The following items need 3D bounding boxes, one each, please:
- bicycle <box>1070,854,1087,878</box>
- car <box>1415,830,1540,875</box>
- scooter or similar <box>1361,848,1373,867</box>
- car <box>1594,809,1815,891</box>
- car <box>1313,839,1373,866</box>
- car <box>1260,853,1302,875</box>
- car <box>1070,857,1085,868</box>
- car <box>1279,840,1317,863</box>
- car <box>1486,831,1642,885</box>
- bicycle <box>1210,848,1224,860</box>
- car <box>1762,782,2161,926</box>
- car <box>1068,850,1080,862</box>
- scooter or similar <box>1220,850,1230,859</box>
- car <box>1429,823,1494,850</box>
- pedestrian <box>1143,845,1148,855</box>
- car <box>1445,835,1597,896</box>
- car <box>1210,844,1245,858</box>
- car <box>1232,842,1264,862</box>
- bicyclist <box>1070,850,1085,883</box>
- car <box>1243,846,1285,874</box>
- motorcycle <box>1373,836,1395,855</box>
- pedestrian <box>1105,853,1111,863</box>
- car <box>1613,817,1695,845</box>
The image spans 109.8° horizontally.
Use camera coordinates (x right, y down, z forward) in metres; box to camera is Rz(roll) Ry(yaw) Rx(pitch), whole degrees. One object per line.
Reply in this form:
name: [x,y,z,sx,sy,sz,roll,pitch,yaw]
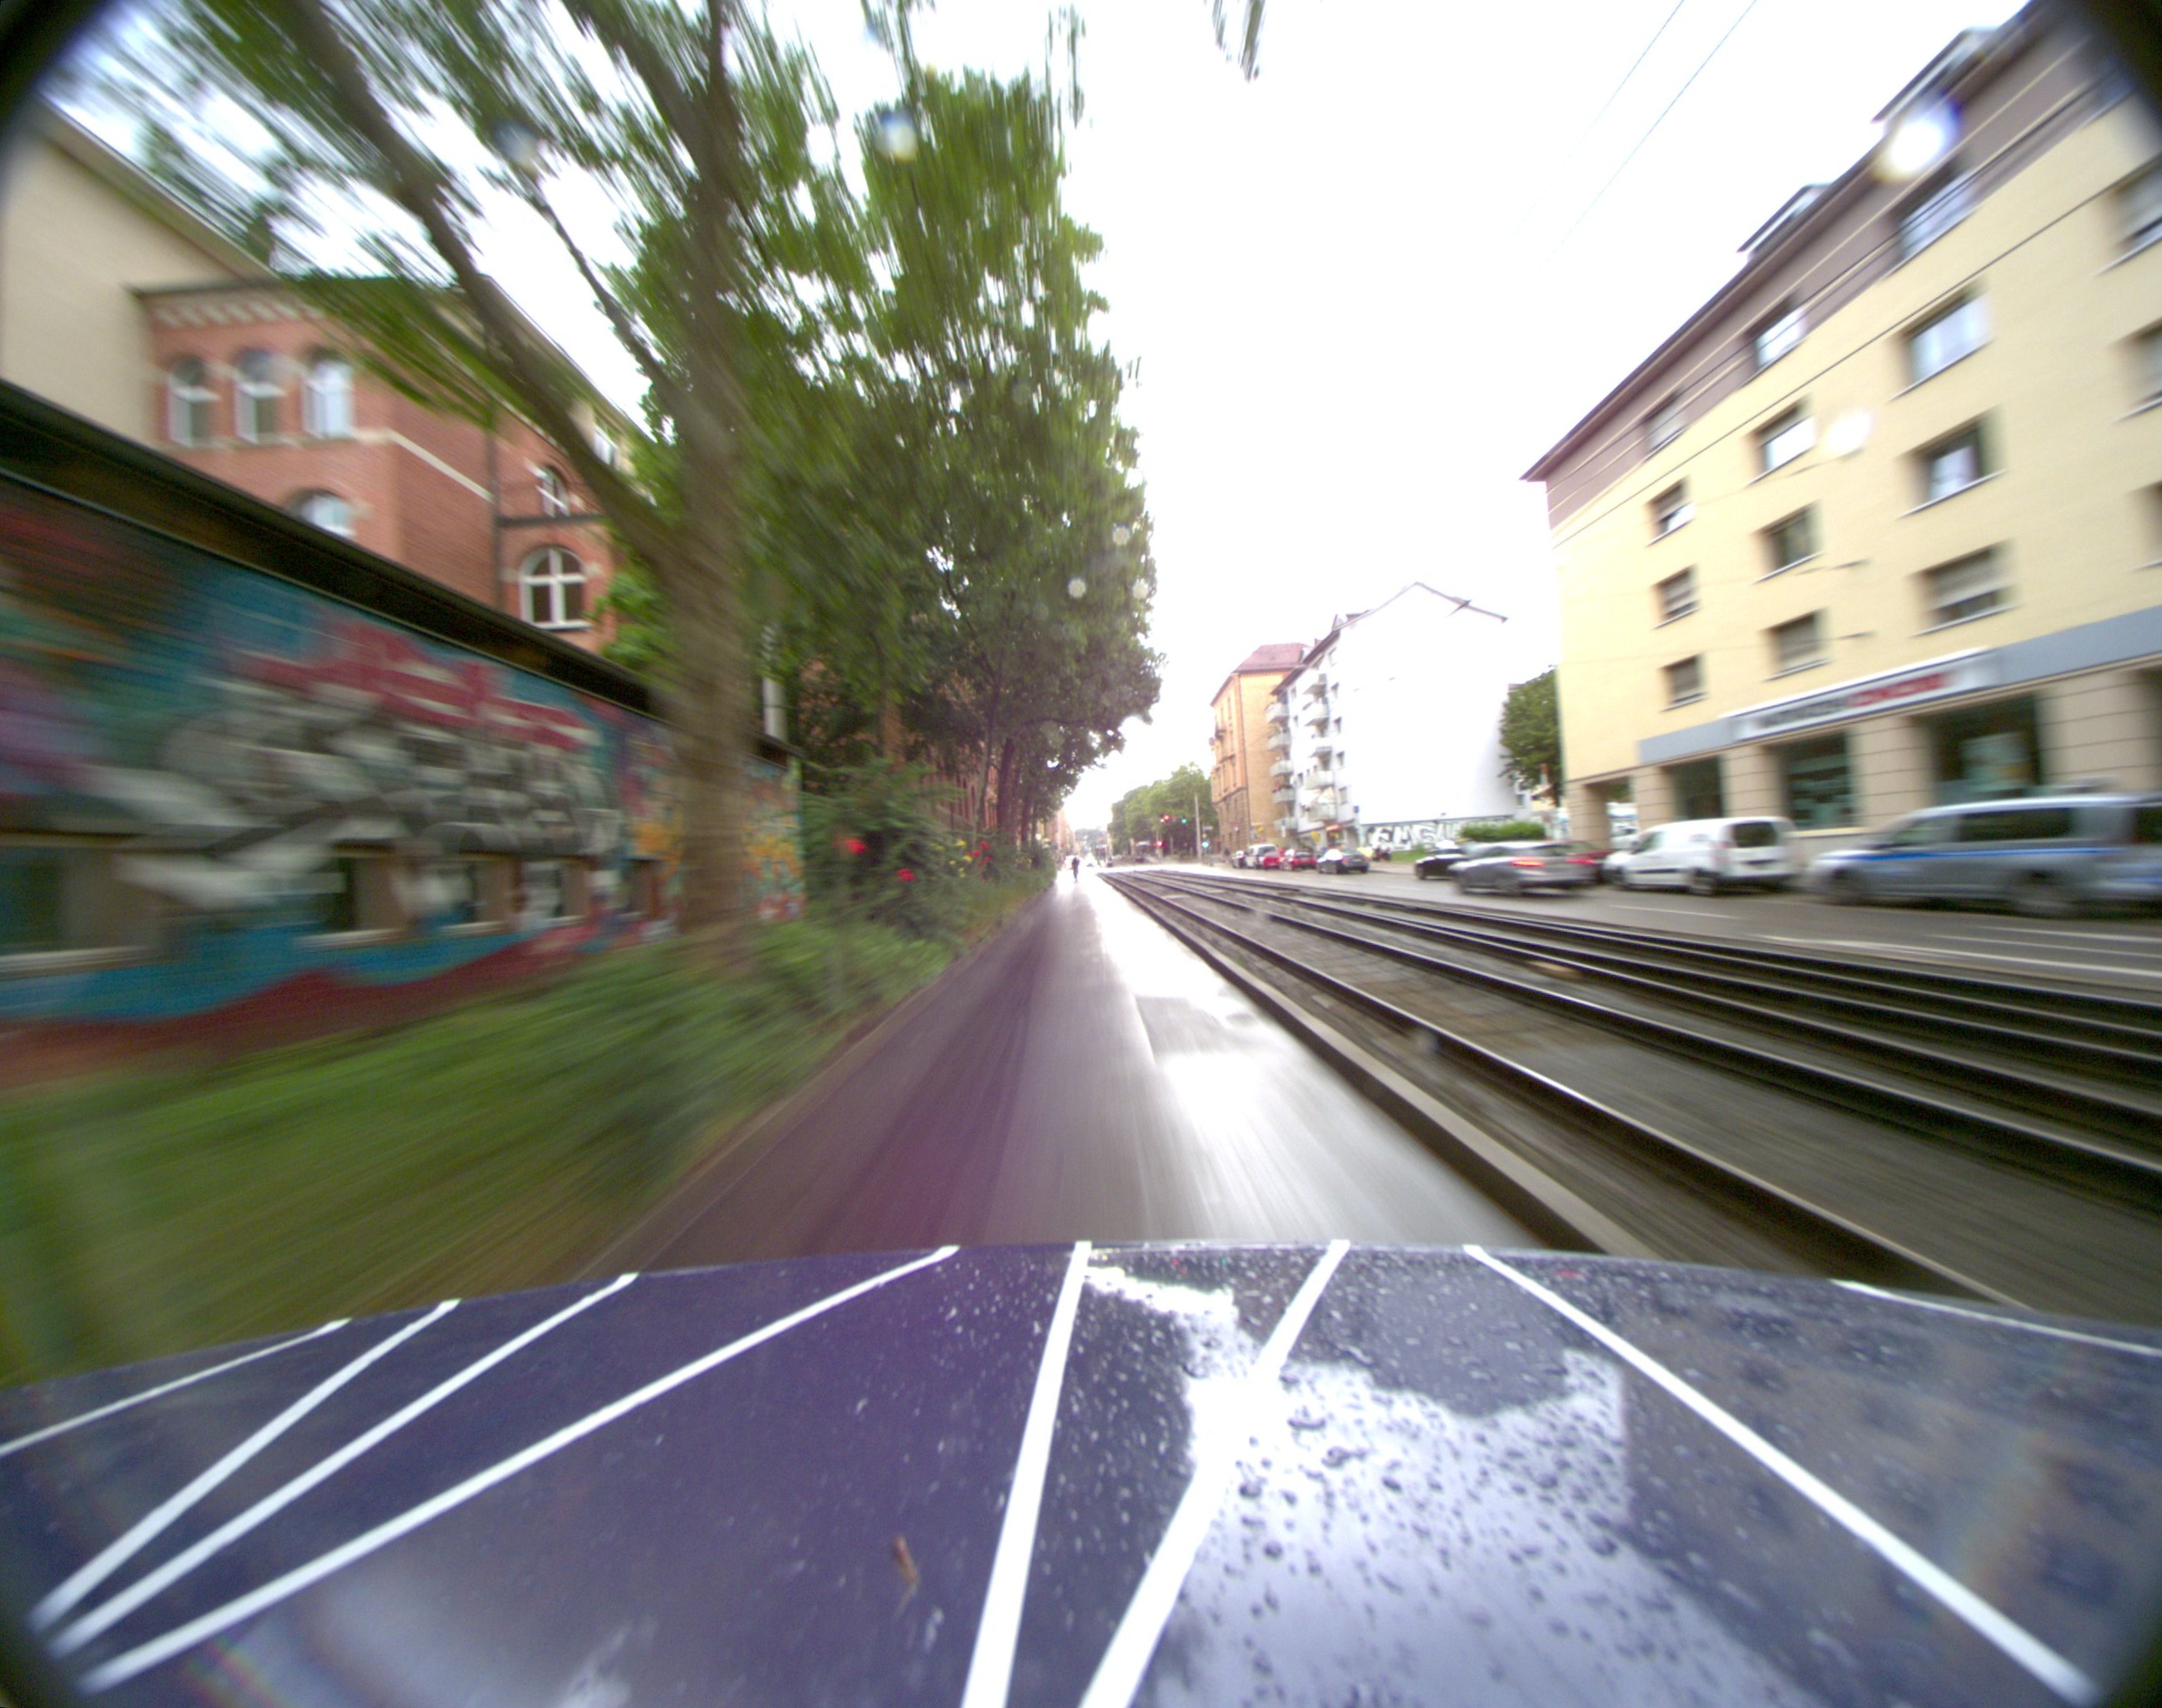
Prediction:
bicycle: [-0.154,0.835,53.301,0.936,1.545,3.135,-3,0,2]
car: [15.145,-0.048,29.428,1.857,1.499,4.989,-3,0,-5]
scooter or similar: [19.741,0.239,52.458,0.623,1.193,1.897,-6,-1,20]
car: [15.190,-0.087,18.895,1.871,1.707,4.460,-3,0,2]
car: [14.807,-0.084,43.181,1.684,1.388,4.621,-3,0,-1]
car: [15.536,0.733,58.912,1.781,1.425,3.989,-3,0,34]
car: [-0.512,1.156,105.169,1.884,1.438,3.999,-4,0,0]
car: [15.013,-0.160,52.784,1.657,1.443,4.074,-3,0,3]
car: [15.223,0.112,24.327,1.856,1.424,4.831,-4,0,0]
bicycle: [21.169,-0.004,118.325,2.096,1.689,0.556,-5,4,-6]
car: [15.092,-0.070,12.965,1.998,1.894,5.459,-4,1,1]
car: [-1.300,0.366,140.434,1.825,1.893,5.991,-4,0,2]
scooter or similar: [22.065,0.052,116.470,1.507,1.363,0.452,-4,0,-16]
car: [21.787,-0.966,43.680,1.874,1.295,4.480,-3,-1,7]
pedestrian: [14.198,-0.880,167.696,0.837,2.050,0.884,-3,1,-3]
car: [11.917,0.294,20.939,1.716,1.454,4.280,-2,0,1]
car: [18.194,-0.349,94.345,3.797,1.529,1.777,-3,0,-7]
car: [15.153,-0.187,69.142,1.737,1.641,4.363,-4,0,0]
bicyclist: [-0.222,0.862,53.305,0.920,2.250,1.287,-3,1,2]
car: [15.227,0.514,63.663,2.075,1.997,5.302,-6,0,0]
motorcycle: [20.509,-0.592,51.540,0.641,1.193,1.784,-7,2,-1]
pedestrian: [4.179,0.608,119.058,0.837,1.595,1.001,-3,1,-2]
car: [32.518,-1.259,43.252,1.672,1.392,3.903,-3,0,-1]
